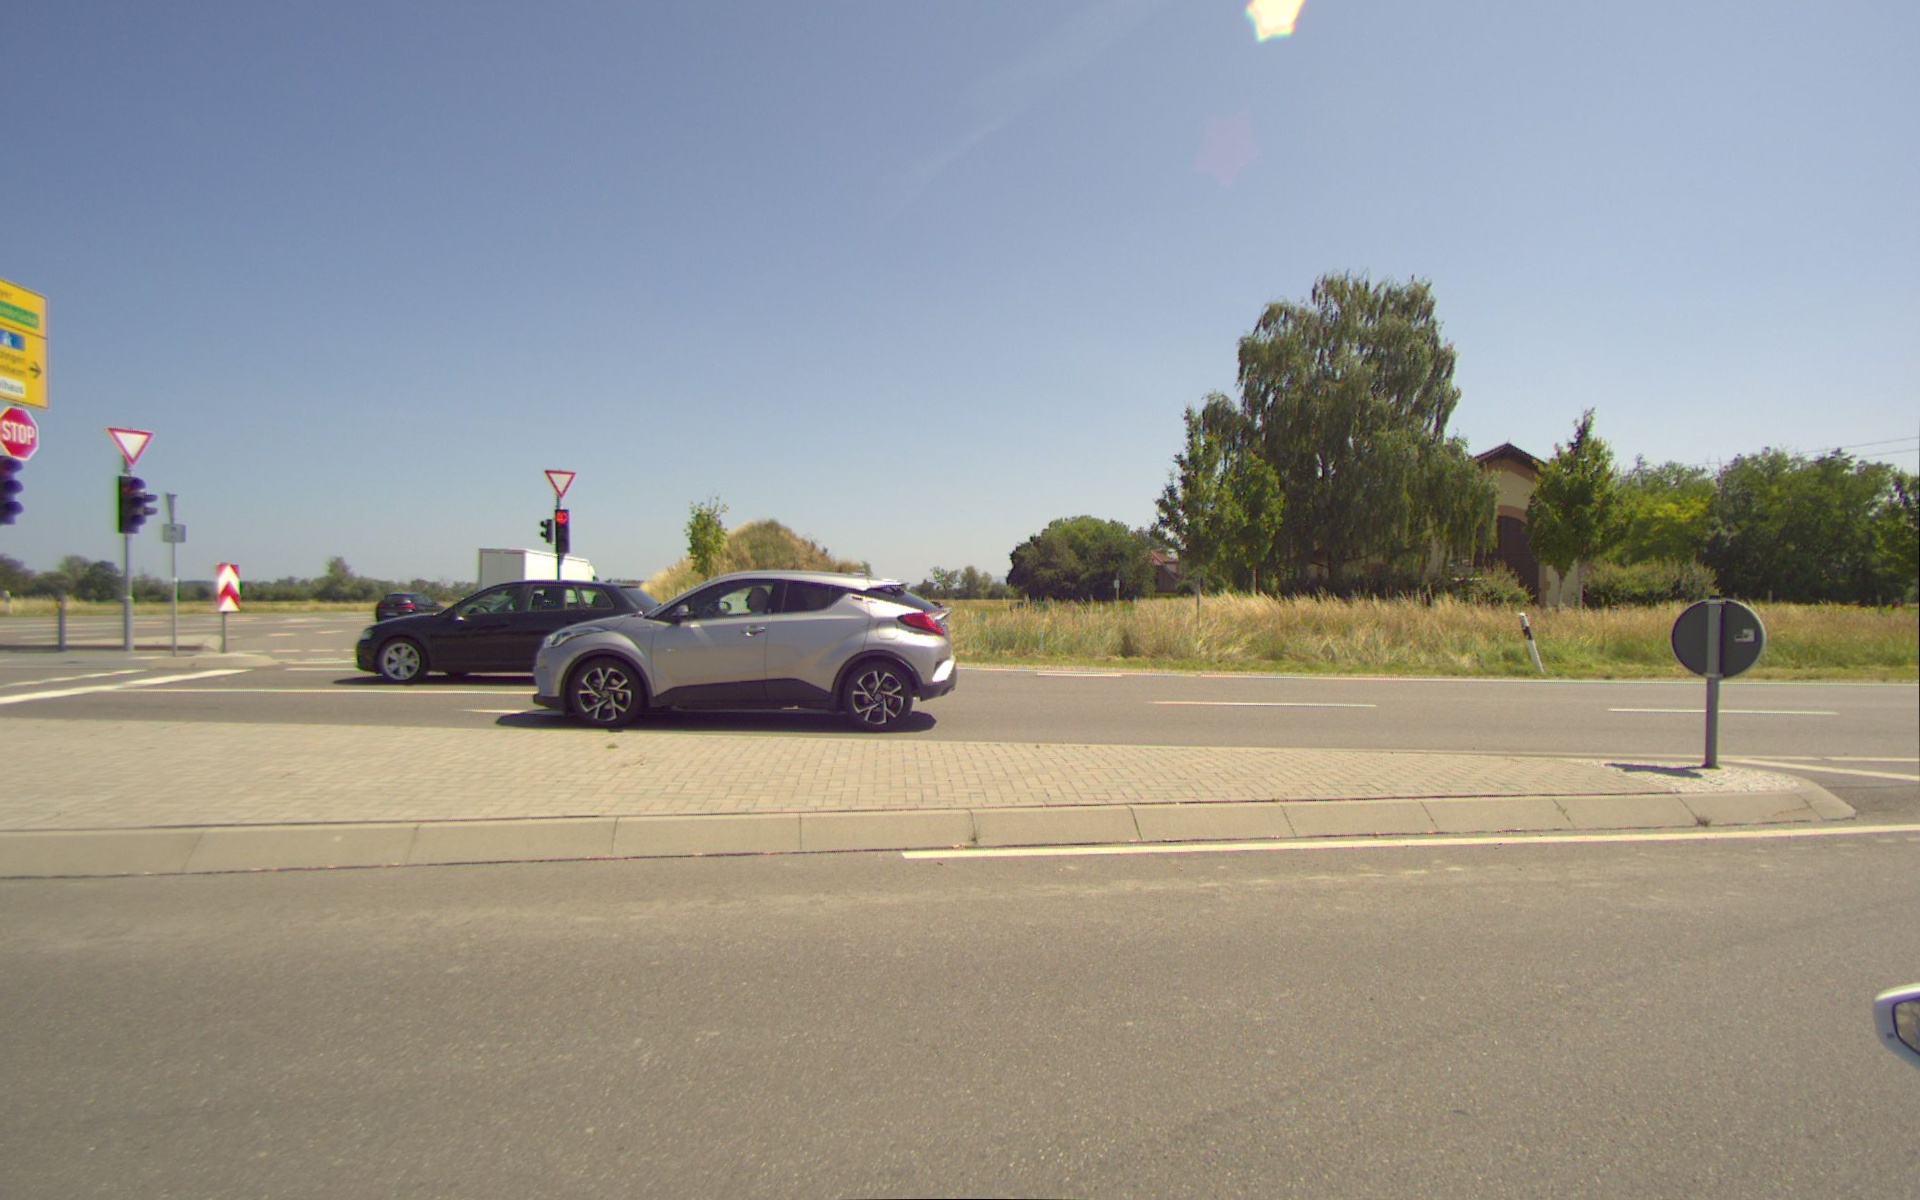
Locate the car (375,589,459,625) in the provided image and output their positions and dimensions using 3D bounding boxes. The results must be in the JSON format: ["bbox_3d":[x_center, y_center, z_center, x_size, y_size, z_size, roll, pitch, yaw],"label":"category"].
[{"bbox_3d":[-24.203,0.301,44.978,1.757,1.450,4.376,2,0,-7],"label":"car"}]

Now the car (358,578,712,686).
[{"bbox_3d":[-5.781,0.399,14.083,4.192,1.387,1.775,0,1,-4],"label":"car"}]

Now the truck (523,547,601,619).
[{"bbox_3d":[-27.205,-1.079,68.952,3.329,4.603,6.365,2,0,-7],"label":"truck"}]

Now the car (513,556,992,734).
[{"bbox_3d":[-1.961,0.416,10.410,4.462,1.564,1.871,2,1,-1],"label":"car"}]

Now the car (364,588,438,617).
[{"bbox_3d":[-29.769,0.151,53.670,1.860,1.466,4.521,1,-1,-7],"label":"car"}]

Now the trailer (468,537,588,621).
[{"bbox_3d":[-26.325,-1.115,62.131,3.329,4.603,12.856,2,-1,-7],"label":"trailer"}]
